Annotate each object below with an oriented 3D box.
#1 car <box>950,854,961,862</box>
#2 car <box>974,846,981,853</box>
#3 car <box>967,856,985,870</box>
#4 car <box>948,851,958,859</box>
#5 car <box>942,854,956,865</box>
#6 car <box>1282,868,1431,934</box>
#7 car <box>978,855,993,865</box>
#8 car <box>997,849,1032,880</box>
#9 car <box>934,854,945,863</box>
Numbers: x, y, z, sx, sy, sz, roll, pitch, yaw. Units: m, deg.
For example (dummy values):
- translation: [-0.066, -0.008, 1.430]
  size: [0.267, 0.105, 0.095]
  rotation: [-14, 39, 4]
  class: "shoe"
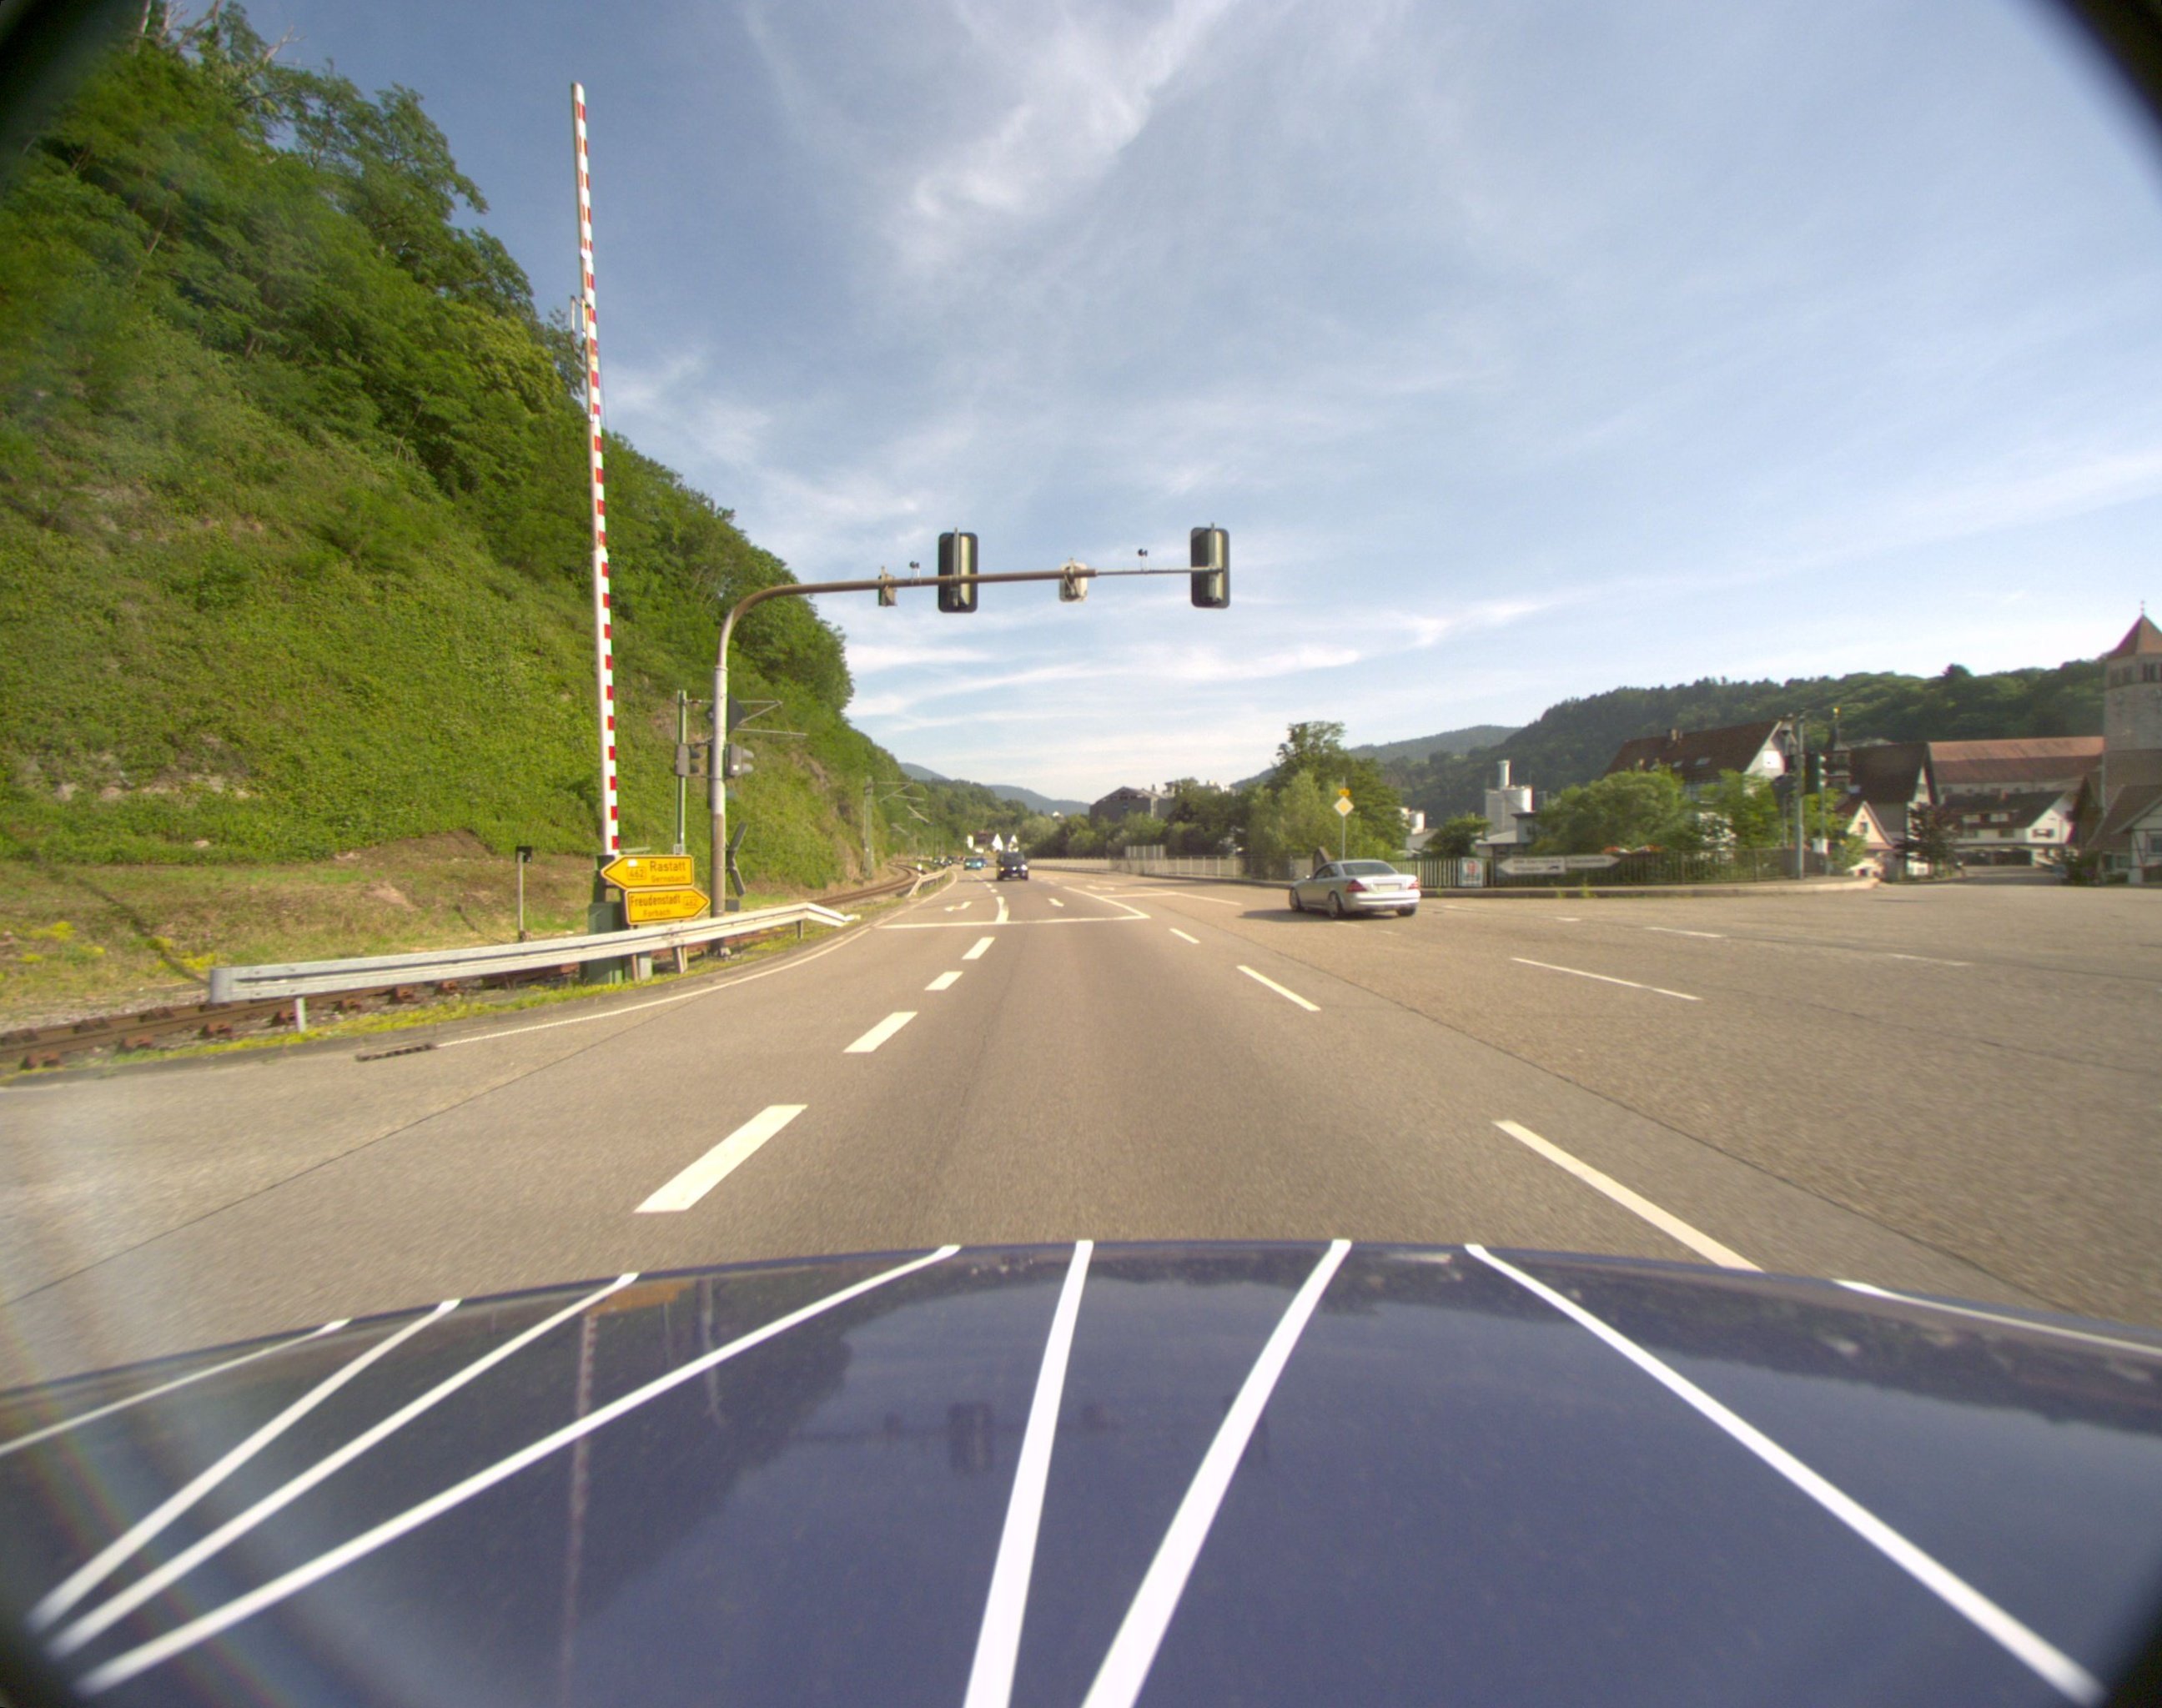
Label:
- translation: [-25.697, 0.817, 155.391]
  size: [1.824, 1.637, 4.605]
  rotation: [-1, 0, -16]
  class: "car"
- translation: [-33.137, -1.446, 242.614]
  size: [2.000, 2.002, 3.997]
  rotation: [-2, 0, -9]
  class: "car"
- translation: [-12.314, 1.045, 89.080]
  size: [1.770, 1.452, 3.572]
  rotation: [1, 1, -13]
  class: "car"
- translation: [-31.195, 0.193, 185.462]
  size: [1.798, 1.817, 4.822]
  rotation: [-1, 0, -15]
  class: "car"
- translation: [-21.776, 0.928, 125.361]
  size: [2.001, 1.783, 3.995]
  rotation: [-1, 0, -14]
  class: "car"
- translation: [6.090, 0.975, 17.339]
  size: [1.650, 1.224, 4.092]
  rotation: [-1, 0, -4]
  class: "car"
- translation: [-14.790, 0.973, 117.721]
  size: [1.789, 1.473, 4.520]
  rotation: [-1, 0, -14]
  class: "car"
- translation: [-4.554, 0.712, 51.333]
  size: [1.910, 1.868, 4.344]
  rotation: [-3, 0, -10]
  class: "car"
- translation: [-26.273, 0.861, 140.813]
  size: [1.878, 1.452, 3.724]
  rotation: [1, 1, -14]
  class: "car"
